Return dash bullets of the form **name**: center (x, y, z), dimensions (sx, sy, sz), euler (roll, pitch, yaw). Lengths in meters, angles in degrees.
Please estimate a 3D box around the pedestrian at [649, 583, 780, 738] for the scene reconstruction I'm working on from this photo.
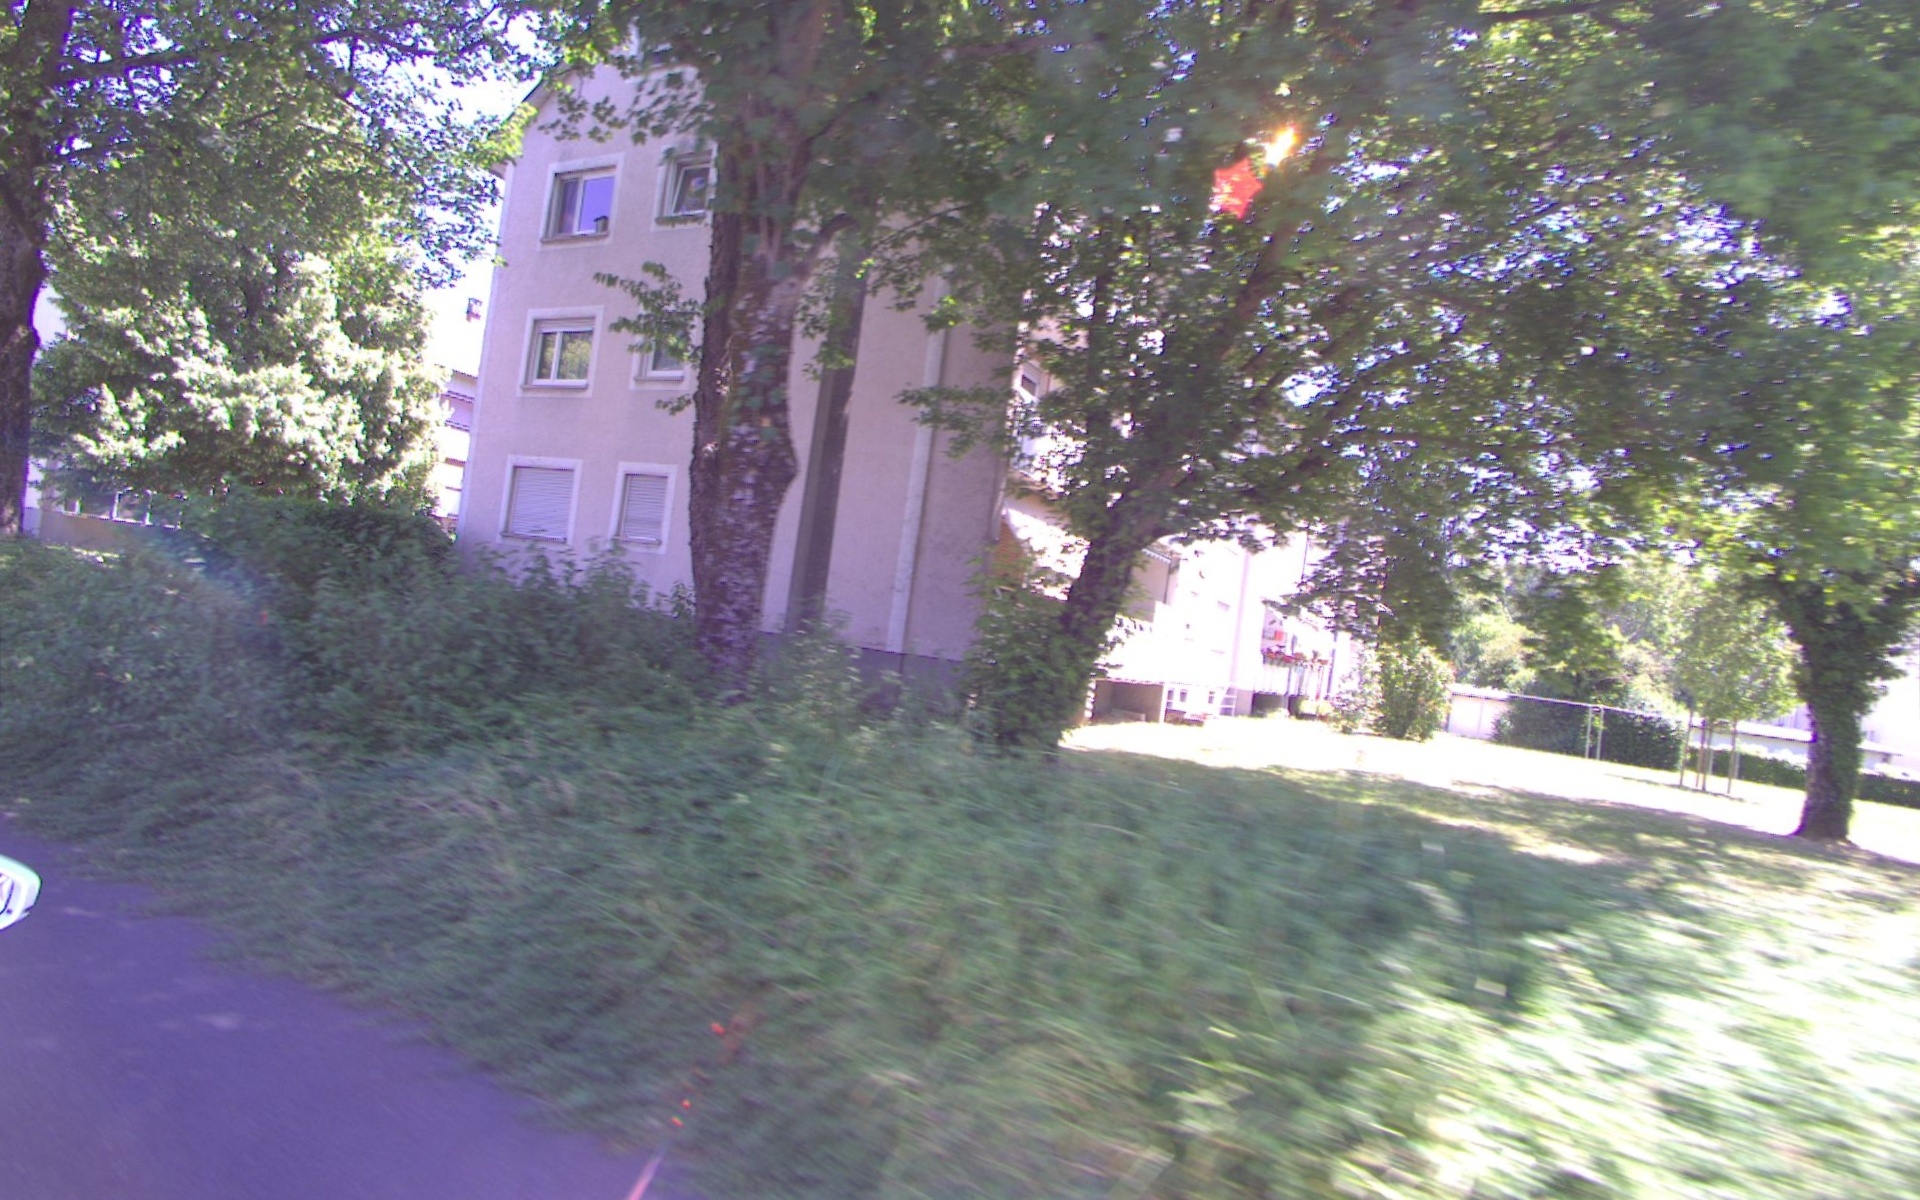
- **pedestrian**: center (-2.359, 0.578, 9.679), dimensions (0.874, 1.350, 0.663), euler (7, -1, 32)

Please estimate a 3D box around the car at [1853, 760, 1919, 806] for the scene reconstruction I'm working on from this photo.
- **car**: center (48.891, 9.534, 51.738), dimensions (1.933, 1.844, 3.928), euler (8, -2, -29)
